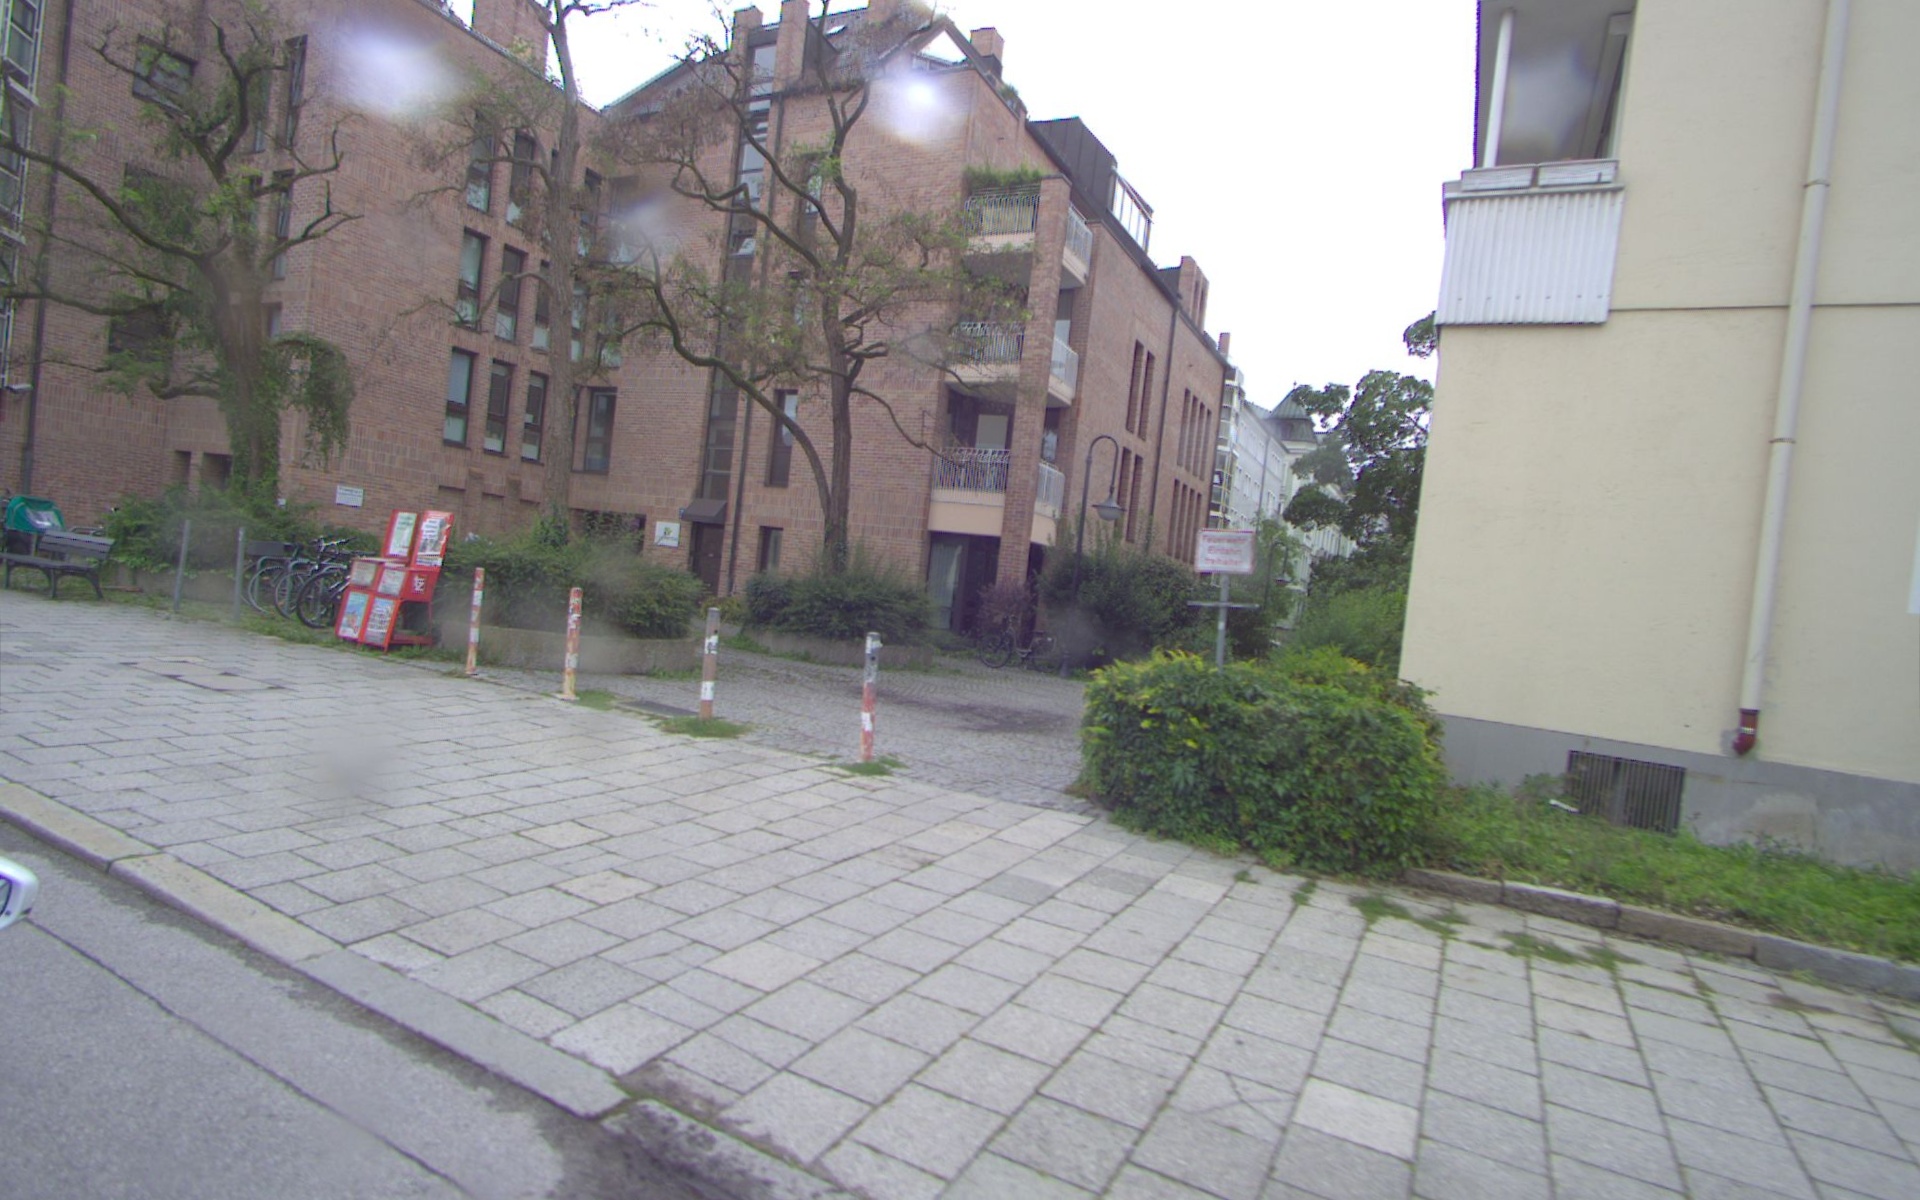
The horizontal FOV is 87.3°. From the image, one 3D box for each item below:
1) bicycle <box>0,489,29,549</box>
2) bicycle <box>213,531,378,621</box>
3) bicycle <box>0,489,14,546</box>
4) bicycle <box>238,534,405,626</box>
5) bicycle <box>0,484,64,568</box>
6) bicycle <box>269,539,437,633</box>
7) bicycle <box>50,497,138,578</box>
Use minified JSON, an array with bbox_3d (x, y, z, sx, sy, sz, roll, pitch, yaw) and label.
[{"bbox_3d":[-20.139,-1.749,20.291,0.480,1.161,1.850,8,0,35],"label":"bicycle"},{"bbox_3d":[-8.868,-0.294,13.505,0.537,0.977,1.704,8,0,29],"label":"bicycle"},{"bbox_3d":[-20.472,-1.794,20.591,0.377,1.161,1.478,8,0,35],"label":"bicycle"},{"bbox_3d":[-8.303,-0.239,13.165,0.537,0.977,1.704,8,0,29],"label":"bicycle"},{"bbox_3d":[-16.036,-1.291,16.833,2.369,1.263,0.535,6,0,24],"label":"bicycle"},{"bbox_3d":[-7.703,-0.152,12.841,0.537,0.977,1.704,8,0,29],"label":"bicycle"},{"bbox_3d":[-13.809,-0.978,16.083,0.415,1.187,1.357,8,0,-16],"label":"bicycle"}]
